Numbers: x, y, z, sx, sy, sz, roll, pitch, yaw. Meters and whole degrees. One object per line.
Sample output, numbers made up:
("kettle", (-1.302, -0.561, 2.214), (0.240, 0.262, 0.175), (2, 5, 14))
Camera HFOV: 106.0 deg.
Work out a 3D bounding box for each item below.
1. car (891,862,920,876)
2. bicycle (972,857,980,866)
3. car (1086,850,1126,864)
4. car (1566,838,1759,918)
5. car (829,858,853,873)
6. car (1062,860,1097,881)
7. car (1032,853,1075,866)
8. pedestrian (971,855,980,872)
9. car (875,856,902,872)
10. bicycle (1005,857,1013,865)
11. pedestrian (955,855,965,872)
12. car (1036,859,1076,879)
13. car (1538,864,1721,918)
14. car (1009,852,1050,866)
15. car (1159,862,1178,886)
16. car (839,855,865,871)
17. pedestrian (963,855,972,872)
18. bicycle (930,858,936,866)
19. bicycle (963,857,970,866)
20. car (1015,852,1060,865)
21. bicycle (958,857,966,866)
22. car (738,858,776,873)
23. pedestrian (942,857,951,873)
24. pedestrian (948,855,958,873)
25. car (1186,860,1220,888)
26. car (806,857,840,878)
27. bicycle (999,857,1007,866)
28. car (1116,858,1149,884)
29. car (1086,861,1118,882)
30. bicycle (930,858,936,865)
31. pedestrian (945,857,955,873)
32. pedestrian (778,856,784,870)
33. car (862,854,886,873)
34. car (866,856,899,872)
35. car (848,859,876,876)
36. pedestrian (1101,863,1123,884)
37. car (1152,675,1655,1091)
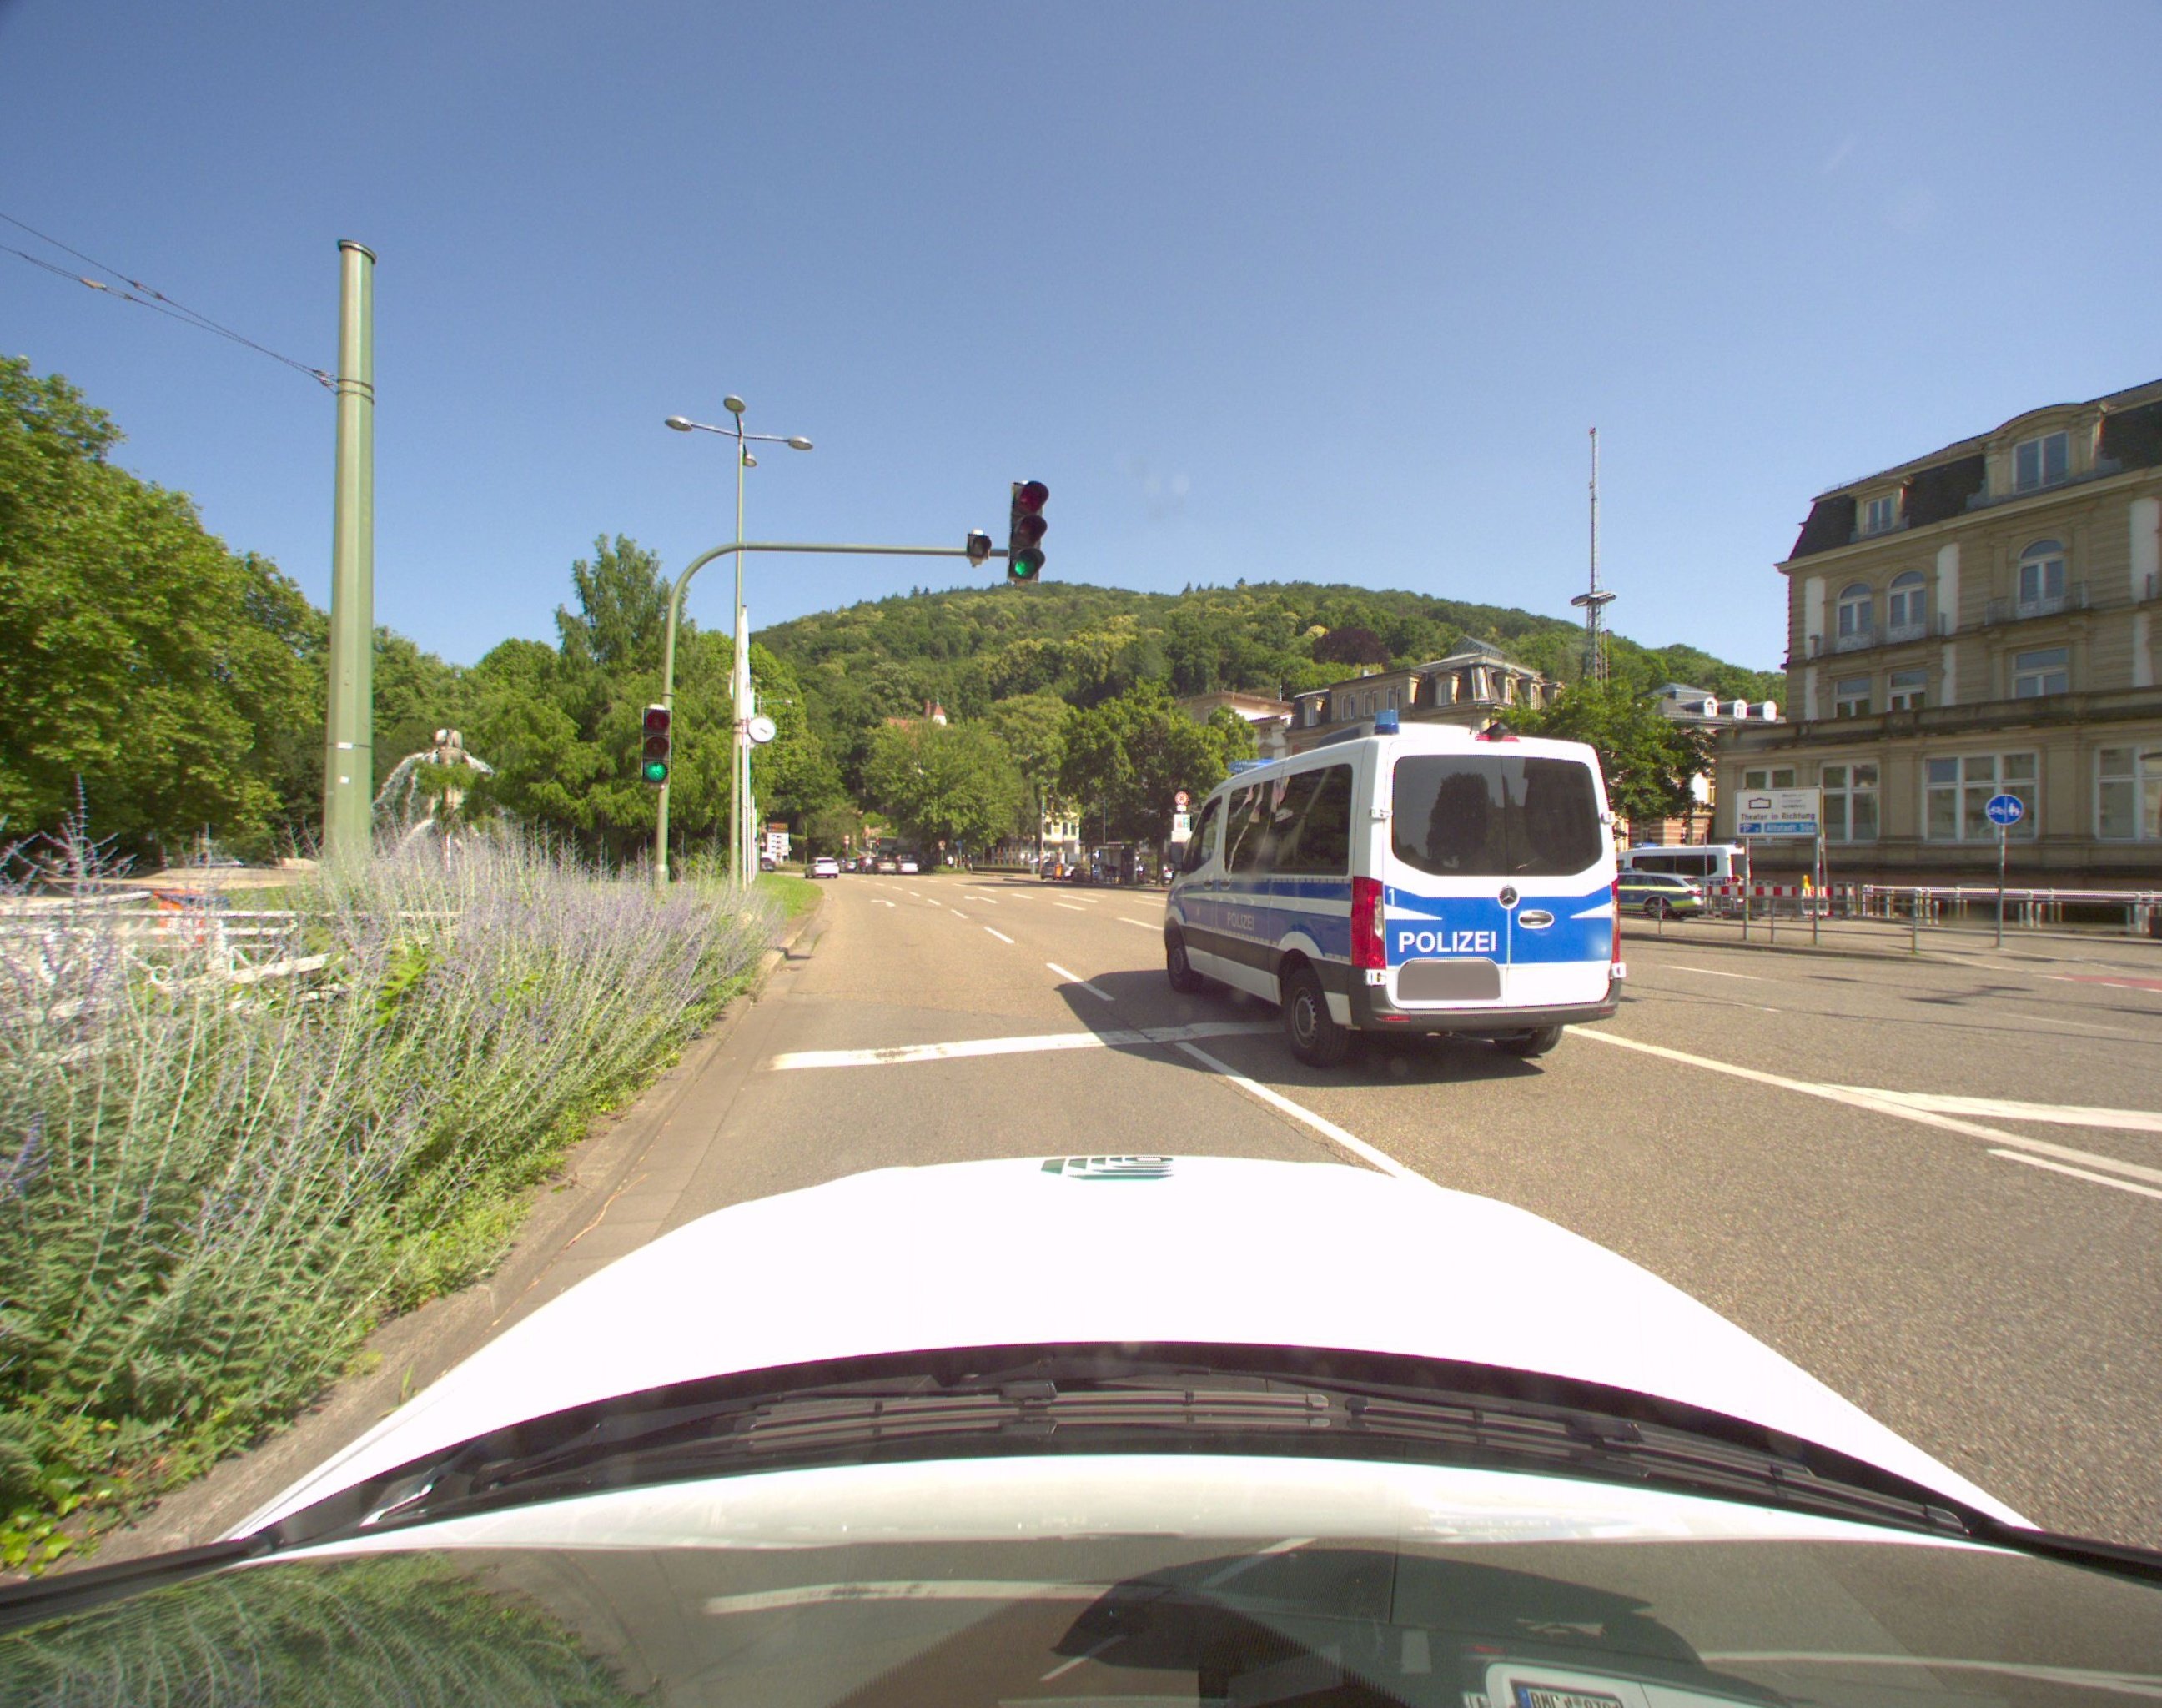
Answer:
("car", (-15.830, 1.330, 73.383), (1.765, 1.213, 3.464), (1, 0, -26))
("bicycle", (-13.732, 0.979, 106.304), (0.540, 1.085, 1.820), (0, 0, -24))
("car", (2.946, 0.354, 96.108), (4.332, 1.603, 1.805), (0, 0, -28))
("car", (20.648, 0.782, 29.165), (2.008, 2.603, 5.261), (1, -1, -35))
("car", (-24.600, 1.149, 83.343), (1.765, 1.461, 3.464), (1, 0, -26))
("car", (-0.081, 1.240, 63.045), (1.696, 1.511, 3.826), (1, 0, 15))
("car", (-2.846, 0.564, 84.140), (4.108, 1.336, 1.805), (0, 0, -28))
("pedestrian", (-11.395, 1.028, 87.783), (0.775, 1.854, 0.822), (1, -1, -27))
("car", (-18.426, 0.973, 77.828), (1.765, 1.461, 3.615), (1, 0, -26))
("bicycle", (-9.592, 0.964, 107.898), (0.540, 1.085, 1.820), (0, 0, -24))
("pedestrian", (-12.900, 1.032, 86.983), (0.775, 1.854, 0.822), (1, -1, -27))
("car", (-1.949, 1.169, 64.837), (1.807, 1.461, 4.126), (1, 0, 18))
("car", (18.456, 1.179, 27.638), (1.830, 1.626, 4.826), (1, -1, -36))
("car", (-5.756, 0.559, 90.813), (4.169, 1.476, 1.859), (0, 0, -31))
("car", (5.780, 1.300, 53.688), (1.191, 1.482, 2.294), (1, -1, 8))
("car", (-22.027, 0.866, 78.168), (1.765, 1.461, 3.615), (1, 0, -26))
("pedestrian", (-12.177, 1.030, 87.374), (0.775, 1.854, 0.822), (1, -1, -27))
("bicycle", (-19.470, 1.051, 107.101), (0.407, 0.941, 1.330), (0, 0, -25))
("bicycle", (-14.885, 0.983, 105.891), (0.540, 1.085, 1.820), (0, 0, -24))
("car", (-4.579, 0.431, 86.099), (4.492, 1.336, 1.805), (0, 0, -28))
("bicycle", (-15.477, 0.985, 105.632), (0.540, 1.085, 1.820), (0, 0, -24))
("car", (-31.923, 1.133, 80.251), (3.794, 1.464, 1.872), (-1, -1, 39))
("pedestrian", (-14.500, 1.187, 87.863), (0.775, 1.663, 0.822), (1, -1, -25))
("pedestrian", (-13.615, 1.033, 86.592), (0.775, 1.854, 0.822), (1, -1, -27))
("car", (7.683, 1.218, 50.930), (1.696, 1.629, 4.332), (1, 0, 14))
("car", (-18.112, 0.931, 57.145), (1.851, 1.460, 3.466), (1, 0, -24))
("bicycle", (-10.282, 0.967, 107.786), (0.540, 1.085, 1.820), (0, 0, -24))
("car", (3.676, 1.153, 57.160), (1.697, 1.696, 4.288), (1, 0, 12))
("car", (1.604, 1.280, 60.480), (1.697, 1.442, 3.824), (1, 0, 12))
("bicycle", (-19.829, 1.007, 109.149), (0.407, 1.012, 1.330), (0, 0, -25))
("pedestrian", (-14.263, 1.192, 88.706), (0.775, 1.663, 0.822), (1, -1, -26))
("pedestrian", (-35.818, 1.036, 97.194), (0.548, 1.621, 0.631), (0, 0, -17))
("car", (-21.872, 1.018, 85.883), (1.765, 1.938, 3.464), (1, 0, -26))
("car", (-16.767, 0.811, 68.587), (1.767, 1.334, 3.766), (1, 0, -29))
("car", (-19.838, 1.189, 73.750), (1.765, 1.461, 3.464), (1, 0, -26))
("pedestrian", (1.774, 1.110, 46.823), (0.782, 1.198, 1.027), (0, -1, 44))
("car", (2.296, 0.209, 7.522), (2.073, 2.509, 4.912), (1, -1, -10))
